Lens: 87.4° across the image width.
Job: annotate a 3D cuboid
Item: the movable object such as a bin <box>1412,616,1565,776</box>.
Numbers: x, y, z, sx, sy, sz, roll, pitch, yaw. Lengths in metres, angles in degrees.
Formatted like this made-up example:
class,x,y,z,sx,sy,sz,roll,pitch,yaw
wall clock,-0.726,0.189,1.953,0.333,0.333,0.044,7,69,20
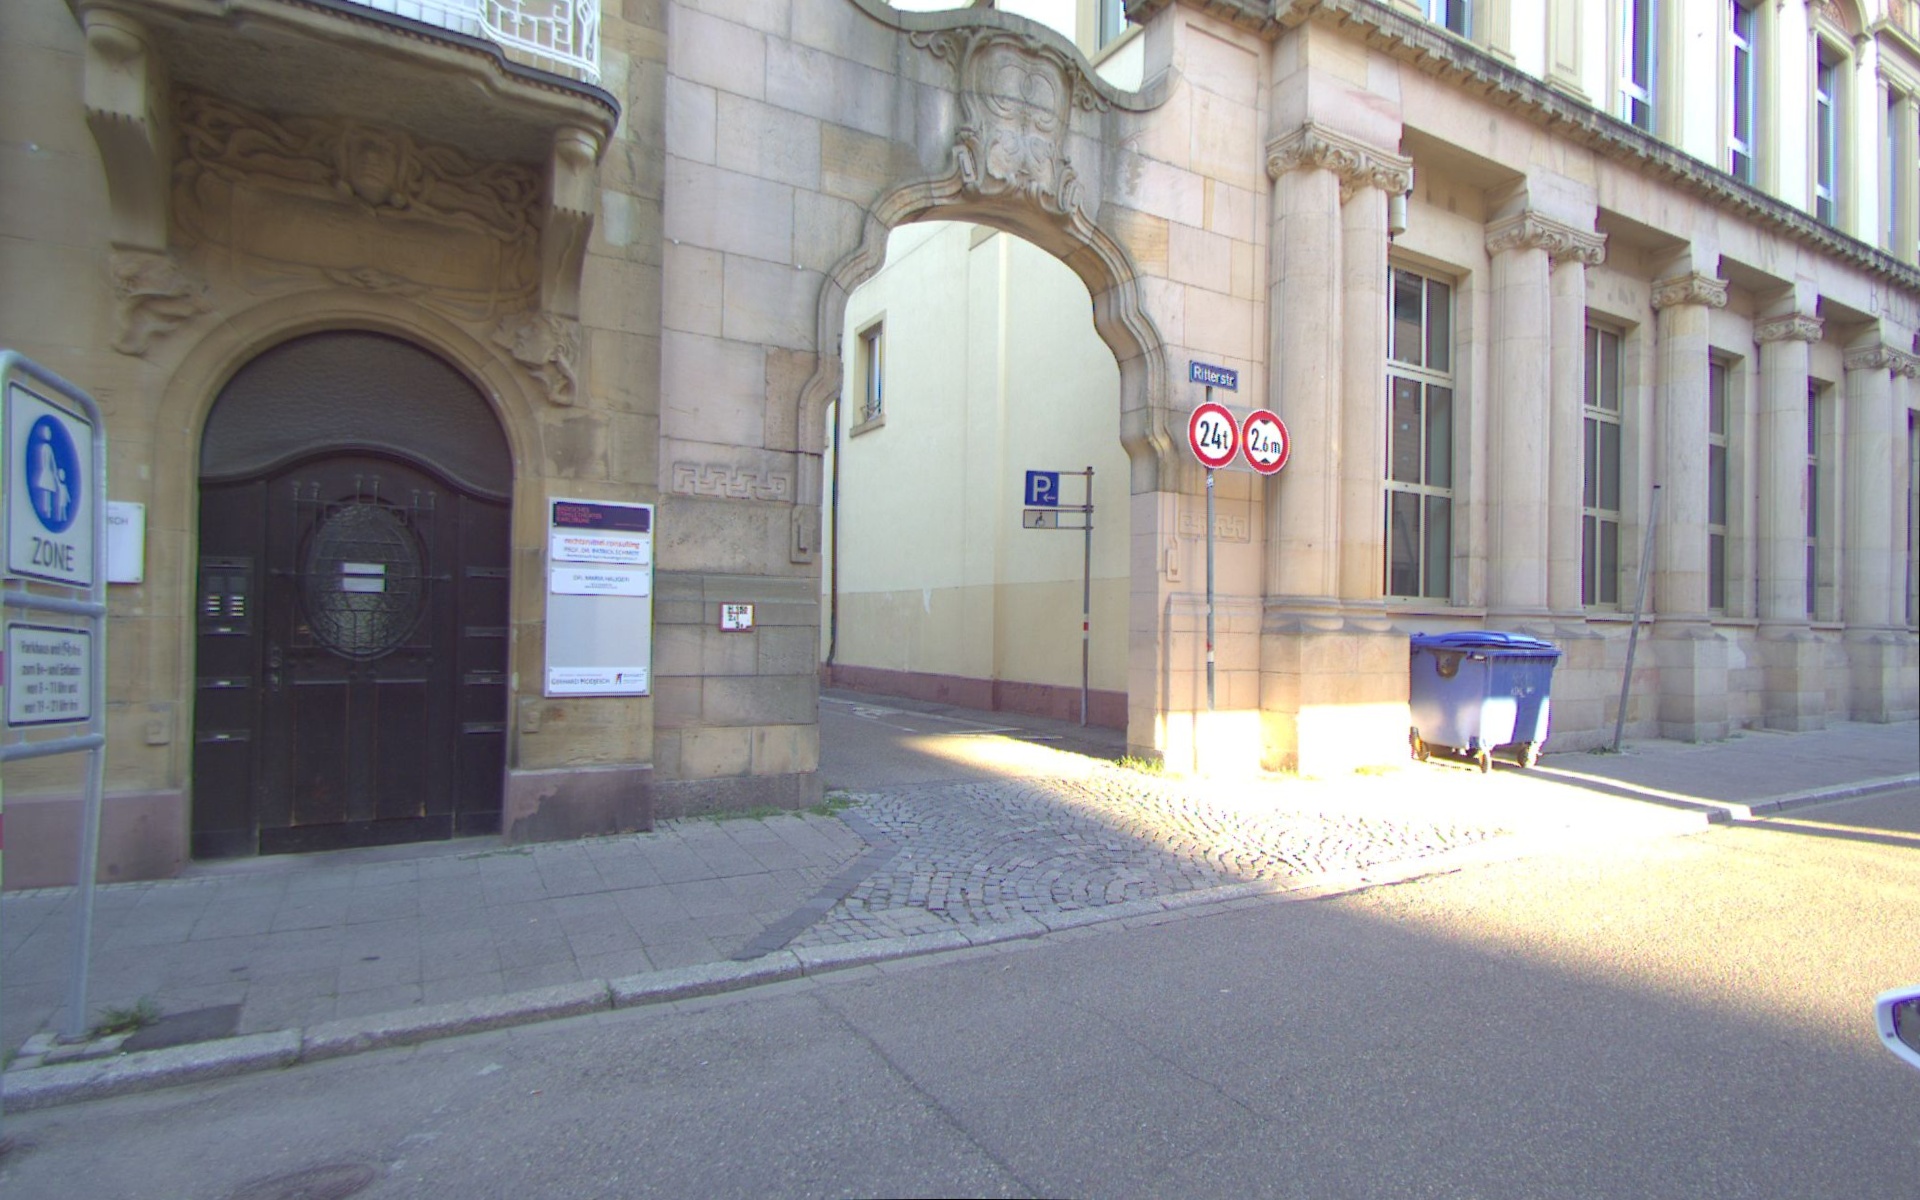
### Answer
class,x,y,z,sx,sy,sz,roll,pitch,yaw
movable object such as a bin,5.420,0.938,10.302,1.275,1.523,0.825,1,-1,-29
